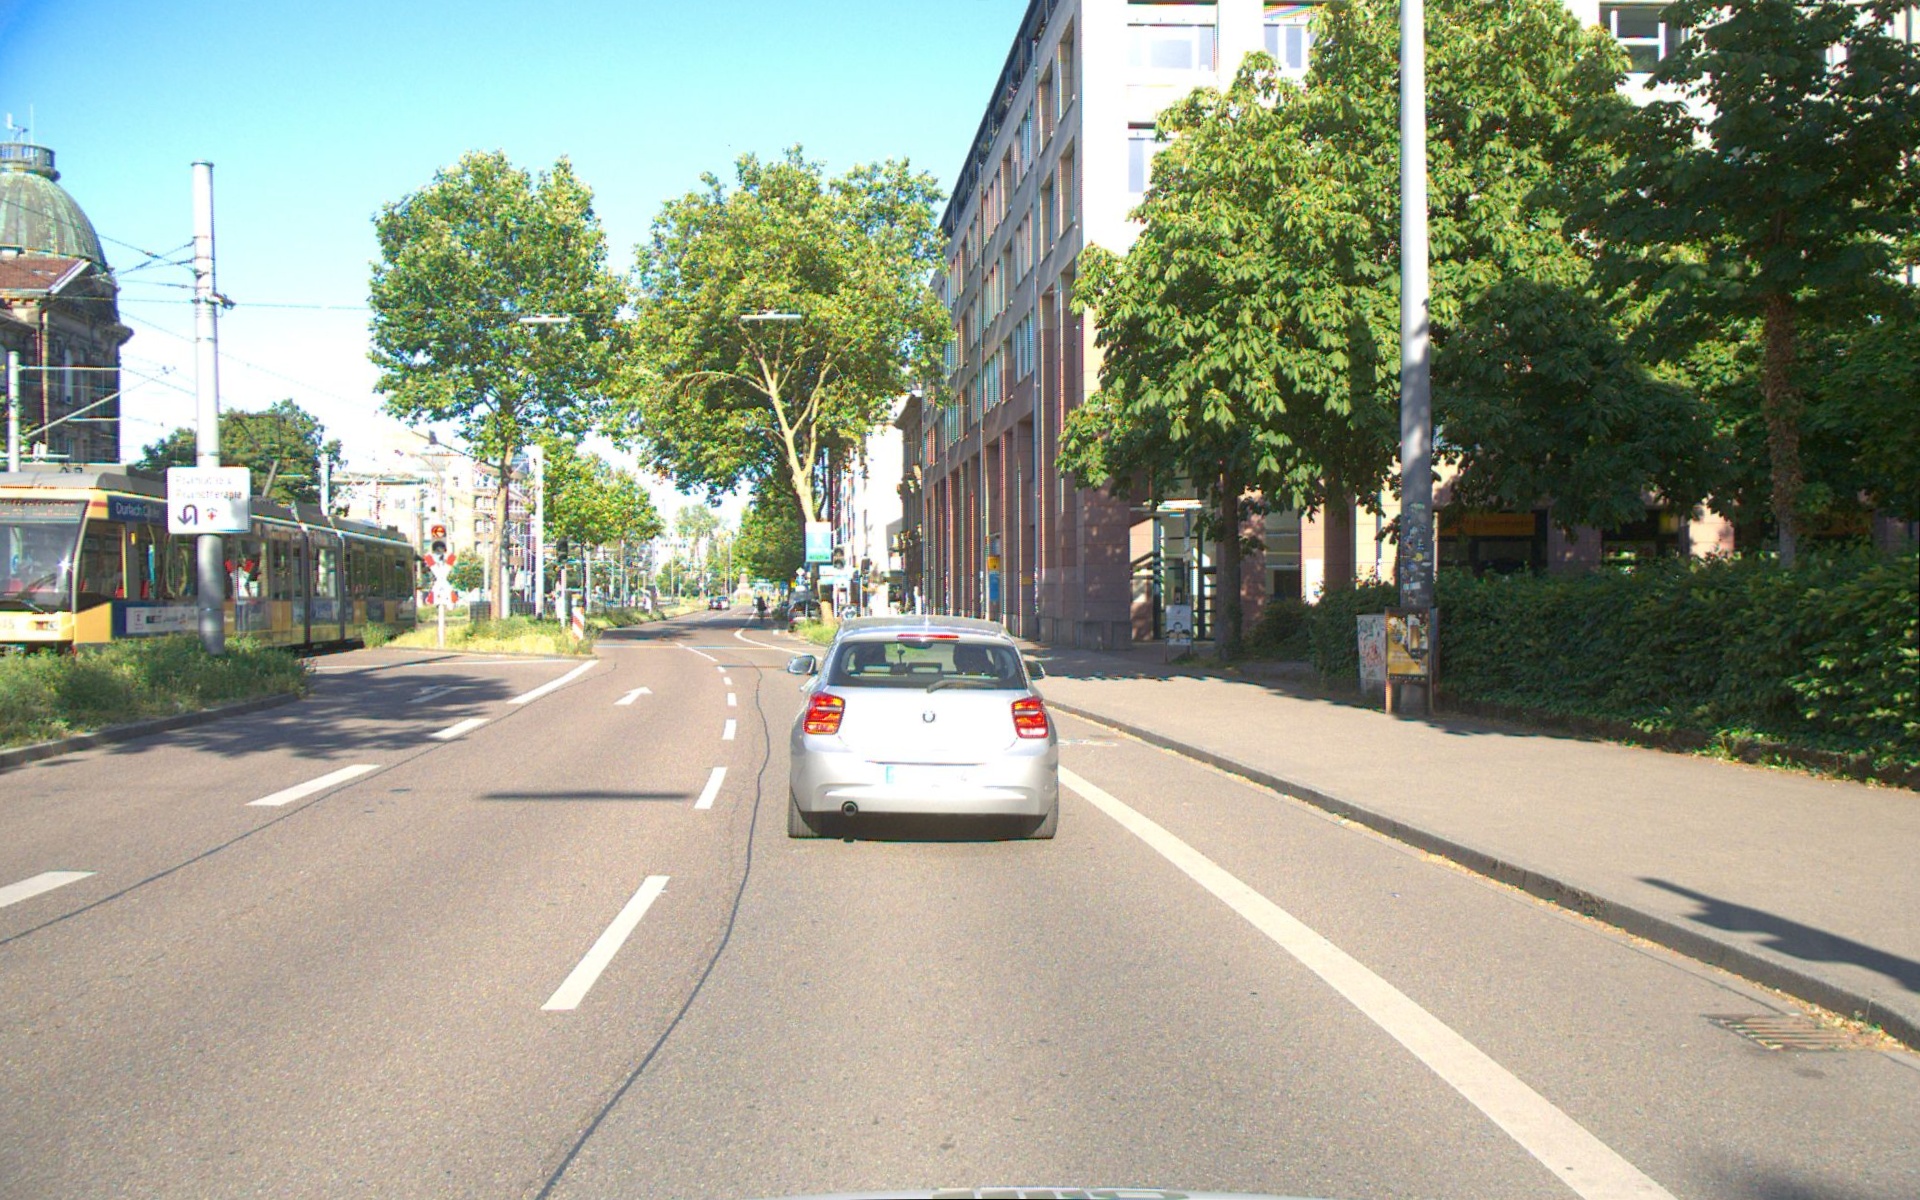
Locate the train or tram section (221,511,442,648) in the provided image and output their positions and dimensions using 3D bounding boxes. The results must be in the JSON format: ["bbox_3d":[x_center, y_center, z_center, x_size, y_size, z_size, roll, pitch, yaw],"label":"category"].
[{"bbox_3d":[-17.496,-0.415,47.231,2.859,3.317,13.090,1,-1,-7],"label":"train or tram section"}]

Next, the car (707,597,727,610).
[{"bbox_3d":[-30.260,0.413,206.074,1.953,1.512,4.000,-1,0,0],"label":"car"}]

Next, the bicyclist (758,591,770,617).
[{"bbox_3d":[-12.800,0.251,108.129,0.644,1.686,0.765,-1,0,3],"label":"bicyclist"}]

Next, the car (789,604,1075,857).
[{"bbox_3d":[-0.136,0.784,11.807,1.694,1.415,3.840,1,1,1],"label":"car"}]

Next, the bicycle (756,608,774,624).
[{"bbox_3d":[-12.763,1.042,108.255,0.814,1.059,1.875,-1,0,3],"label":"bicycle"}]

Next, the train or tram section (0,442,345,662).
[{"bbox_3d":[-15.670,-0.624,32.880,2.859,3.317,15.865,1,-1,-7],"label":"train or tram section"}]

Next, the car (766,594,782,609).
[{"bbox_3d":[-27.711,0.205,245.995,1.953,2.049,3.998,1,-1,-2],"label":"car"}]
